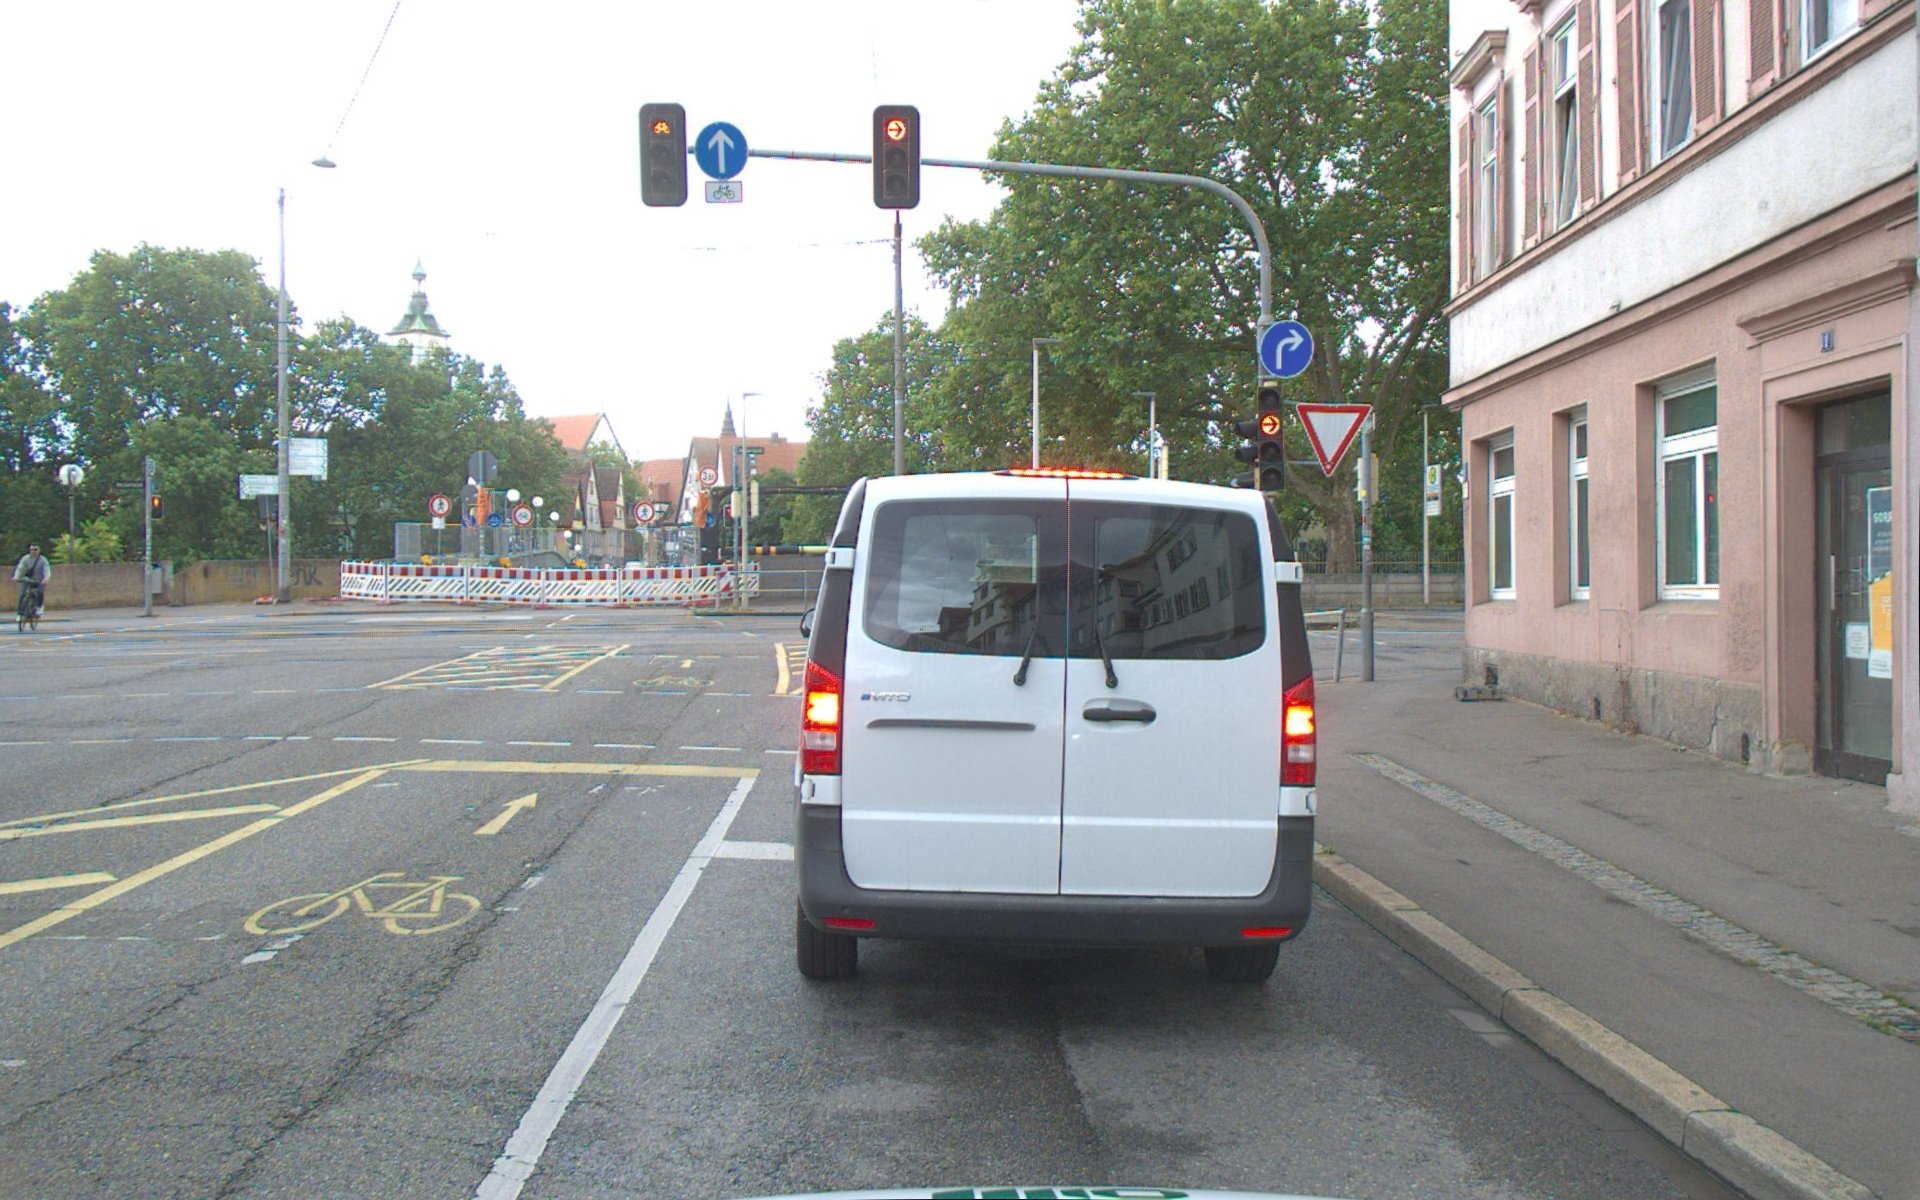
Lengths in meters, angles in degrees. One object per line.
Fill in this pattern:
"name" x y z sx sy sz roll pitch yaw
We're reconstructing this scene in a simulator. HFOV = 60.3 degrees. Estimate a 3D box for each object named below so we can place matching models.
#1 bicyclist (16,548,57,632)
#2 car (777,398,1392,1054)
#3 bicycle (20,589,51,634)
"bicyclist" -19.220 -0.215 34.430 0.715 1.730 0.803 -1 0 -28
"car" 0.361 0.339 7.571 1.911 2.048 4.698 1 2 -1
"bicycle" -19.398 0.235 34.715 0.535 0.908 1.862 -1 1 -28
